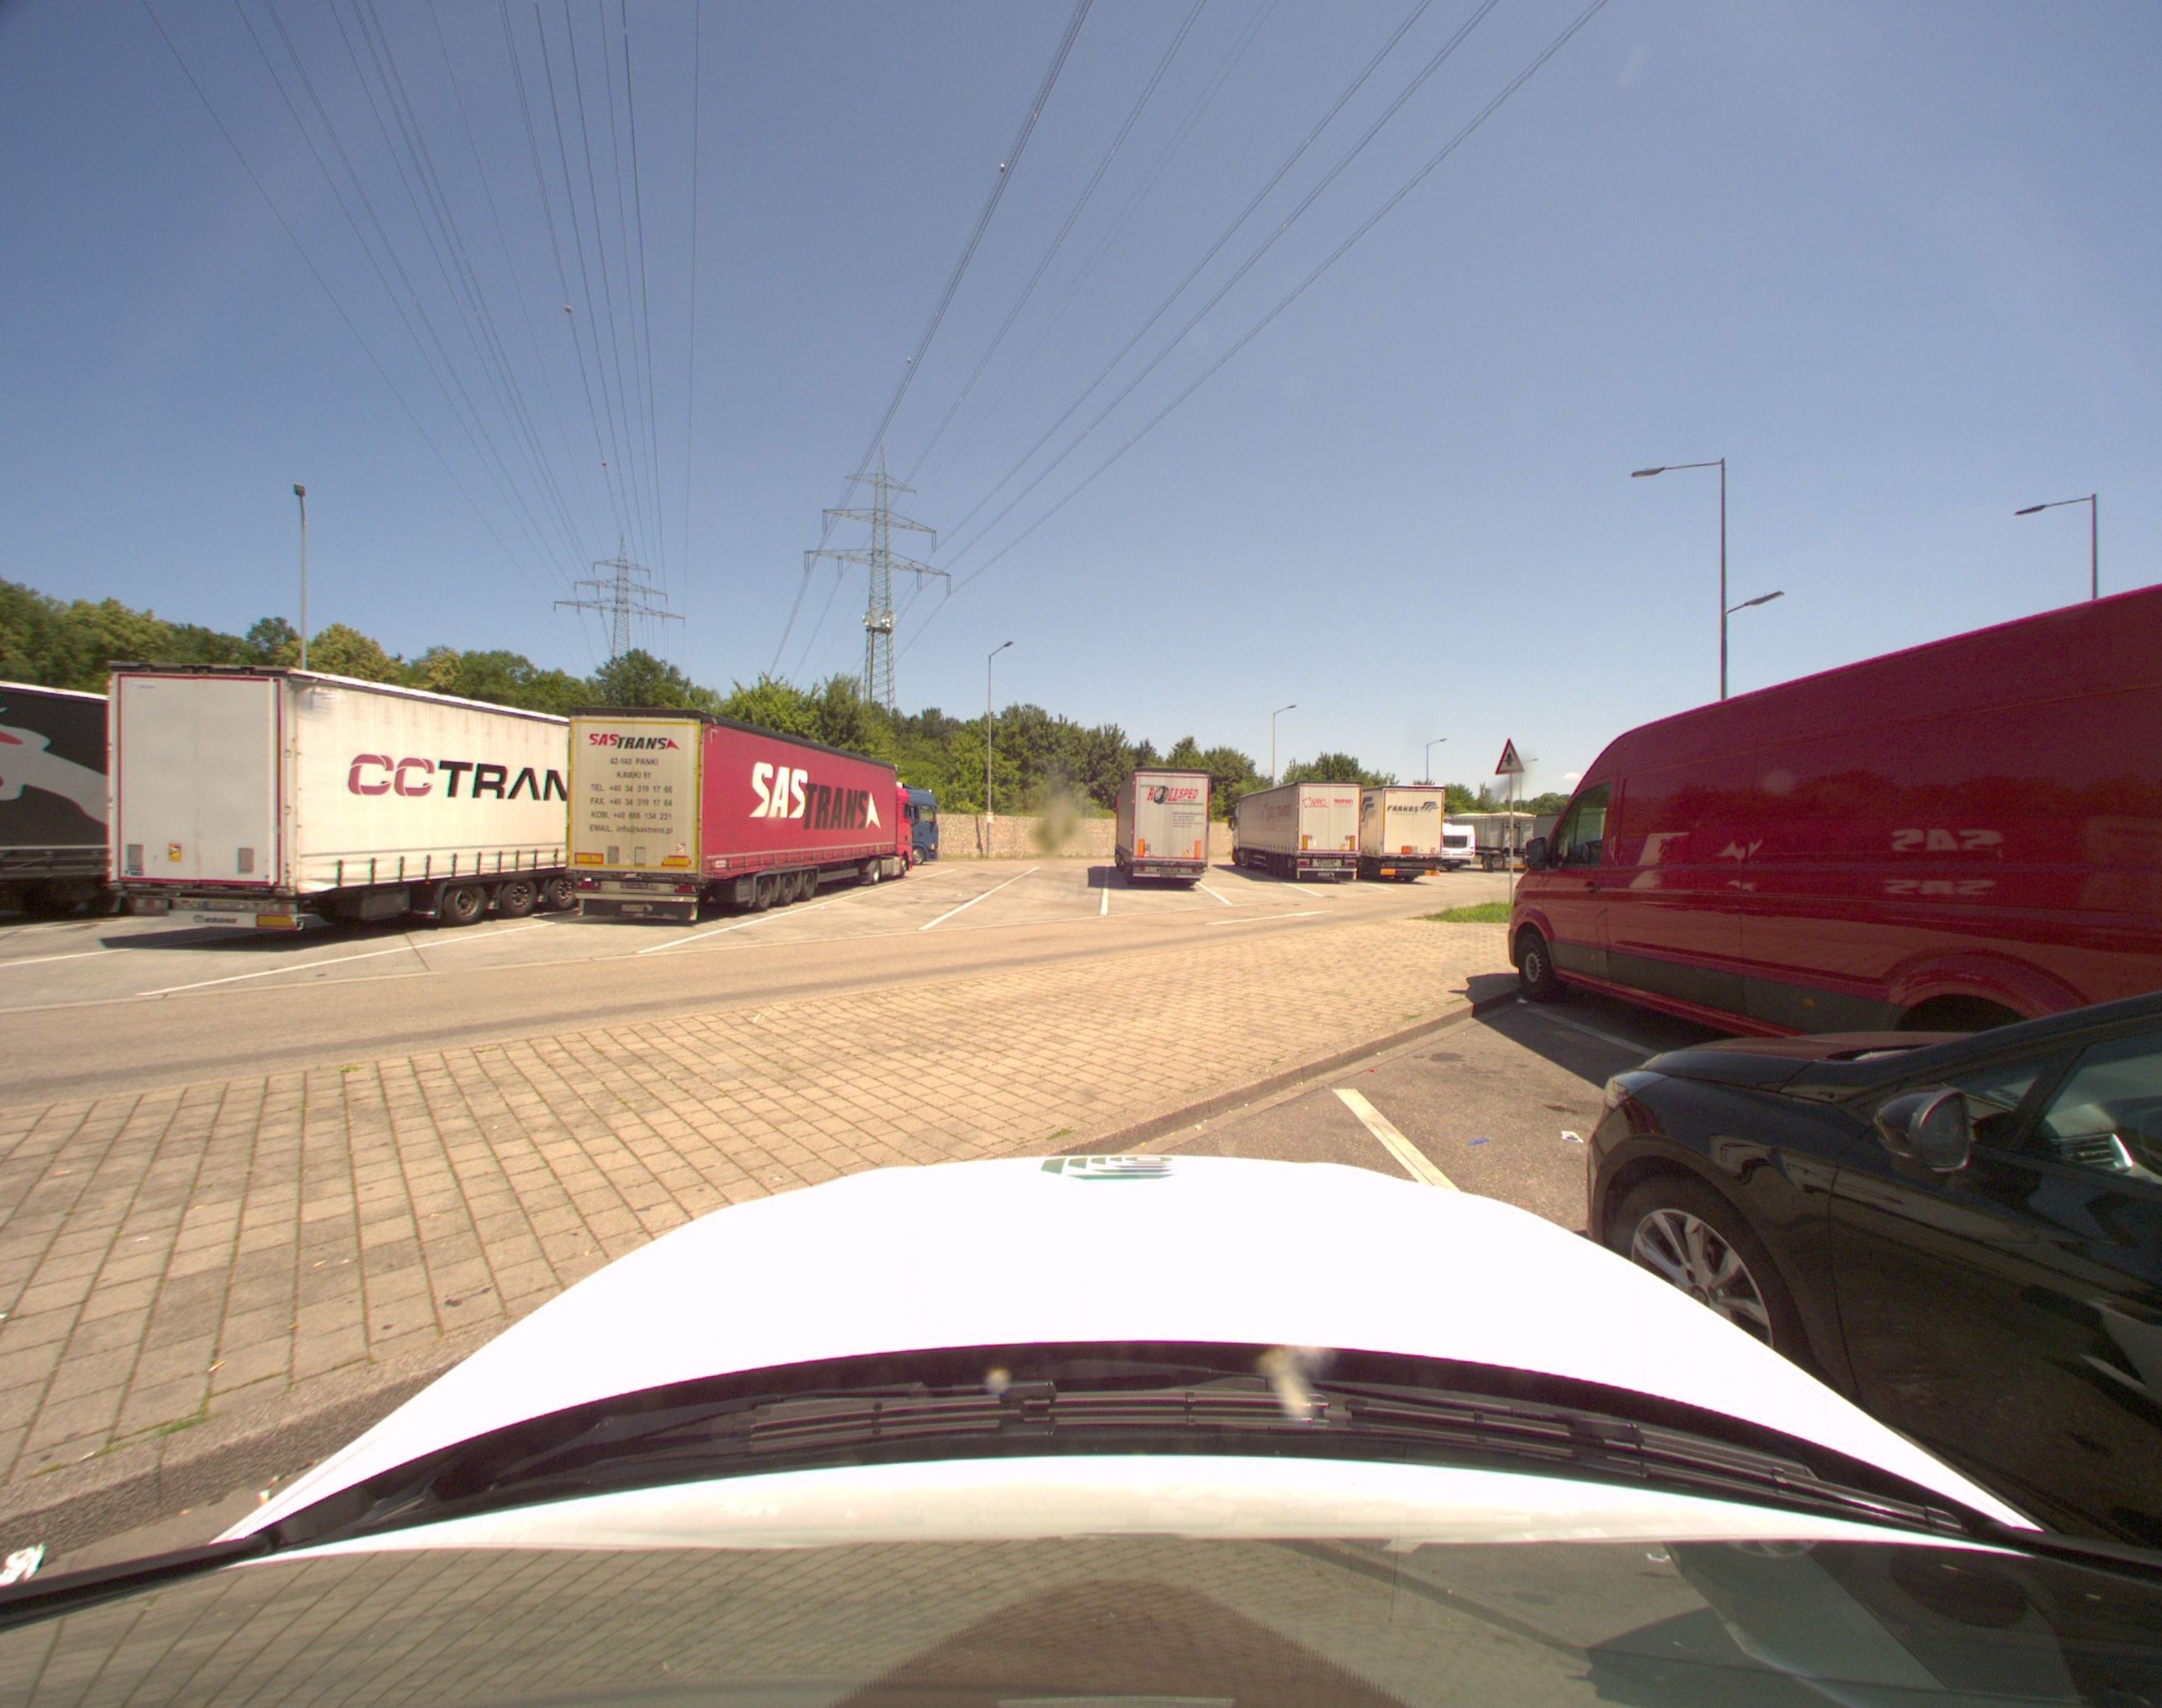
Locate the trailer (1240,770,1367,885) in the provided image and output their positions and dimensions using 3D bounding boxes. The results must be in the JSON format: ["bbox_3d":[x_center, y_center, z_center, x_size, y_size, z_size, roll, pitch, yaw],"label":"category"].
[{"bbox_3d":[9.910,-1.116,38.117,2.672,4.452,12.833,-1,1,1],"label":"trailer"}]

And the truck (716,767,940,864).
[{"bbox_3d":[-11.465,-1.602,38.126,10.112,4.033,2.214,0,0,-44],"label":"truck"}]

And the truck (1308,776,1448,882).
[{"bbox_3d":[13.540,-0.943,38.561,2.577,4.226,11.974,0,0,2],"label":"truck"}]

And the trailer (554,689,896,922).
[{"bbox_3d":[-7.994,-0.978,21.466,2.789,4.219,13.208,-1,1,2],"label":"trailer"}]

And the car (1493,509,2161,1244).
[{"bbox_3d":[5.117,0.035,5.503,1.984,2.633,6.393,-1,1,5],"label":"car"}]

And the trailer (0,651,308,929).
[{"bbox_3d":[-18.553,-1.036,14.931,2.668,4.444,6.151,-1,1,2],"label":"trailer"}]

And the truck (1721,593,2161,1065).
[{"bbox_3d":[7.797,-0.147,6.024,2.508,2.827,4.821,0,-1,3],"label":"truck"}]

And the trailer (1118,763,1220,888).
[{"bbox_3d":[3.110,-1.007,32.127,2.887,4.013,11.318,-1,1,1],"label":"trailer"}]

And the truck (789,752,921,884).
[{"bbox_3d":[-7.744,-1.180,28.723,2.795,4.133,5.896,-1,1,2],"label":"truck"}]

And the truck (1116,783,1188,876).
[{"bbox_3d":[3.161,-1.094,37.791,2.861,3.980,6.030,0,1,1],"label":"truck"}]

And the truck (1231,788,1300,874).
[{"bbox_3d":[10.084,-1.237,45.136,2.651,4.452,5.866,-1,1,2],"label":"truck"}]

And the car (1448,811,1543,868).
[{"bbox_3d":[24.145,-0.823,47.760,2.490,3.074,6.353,-1,1,2],"label":"car"}]

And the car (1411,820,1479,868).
[{"bbox_3d":[20.546,-0.520,46.139,2.107,2.599,4.001,0,-1,2],"label":"car"}]

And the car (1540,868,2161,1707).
[{"bbox_3d":[2.542,0.768,0.956,1.773,1.457,3.681,0,-1,-4],"label":"car"}]

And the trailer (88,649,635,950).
[{"bbox_3d":[-12.213,-0.814,15.402,2.744,4.152,8.291,0,1,2],"label":"trailer"}]
